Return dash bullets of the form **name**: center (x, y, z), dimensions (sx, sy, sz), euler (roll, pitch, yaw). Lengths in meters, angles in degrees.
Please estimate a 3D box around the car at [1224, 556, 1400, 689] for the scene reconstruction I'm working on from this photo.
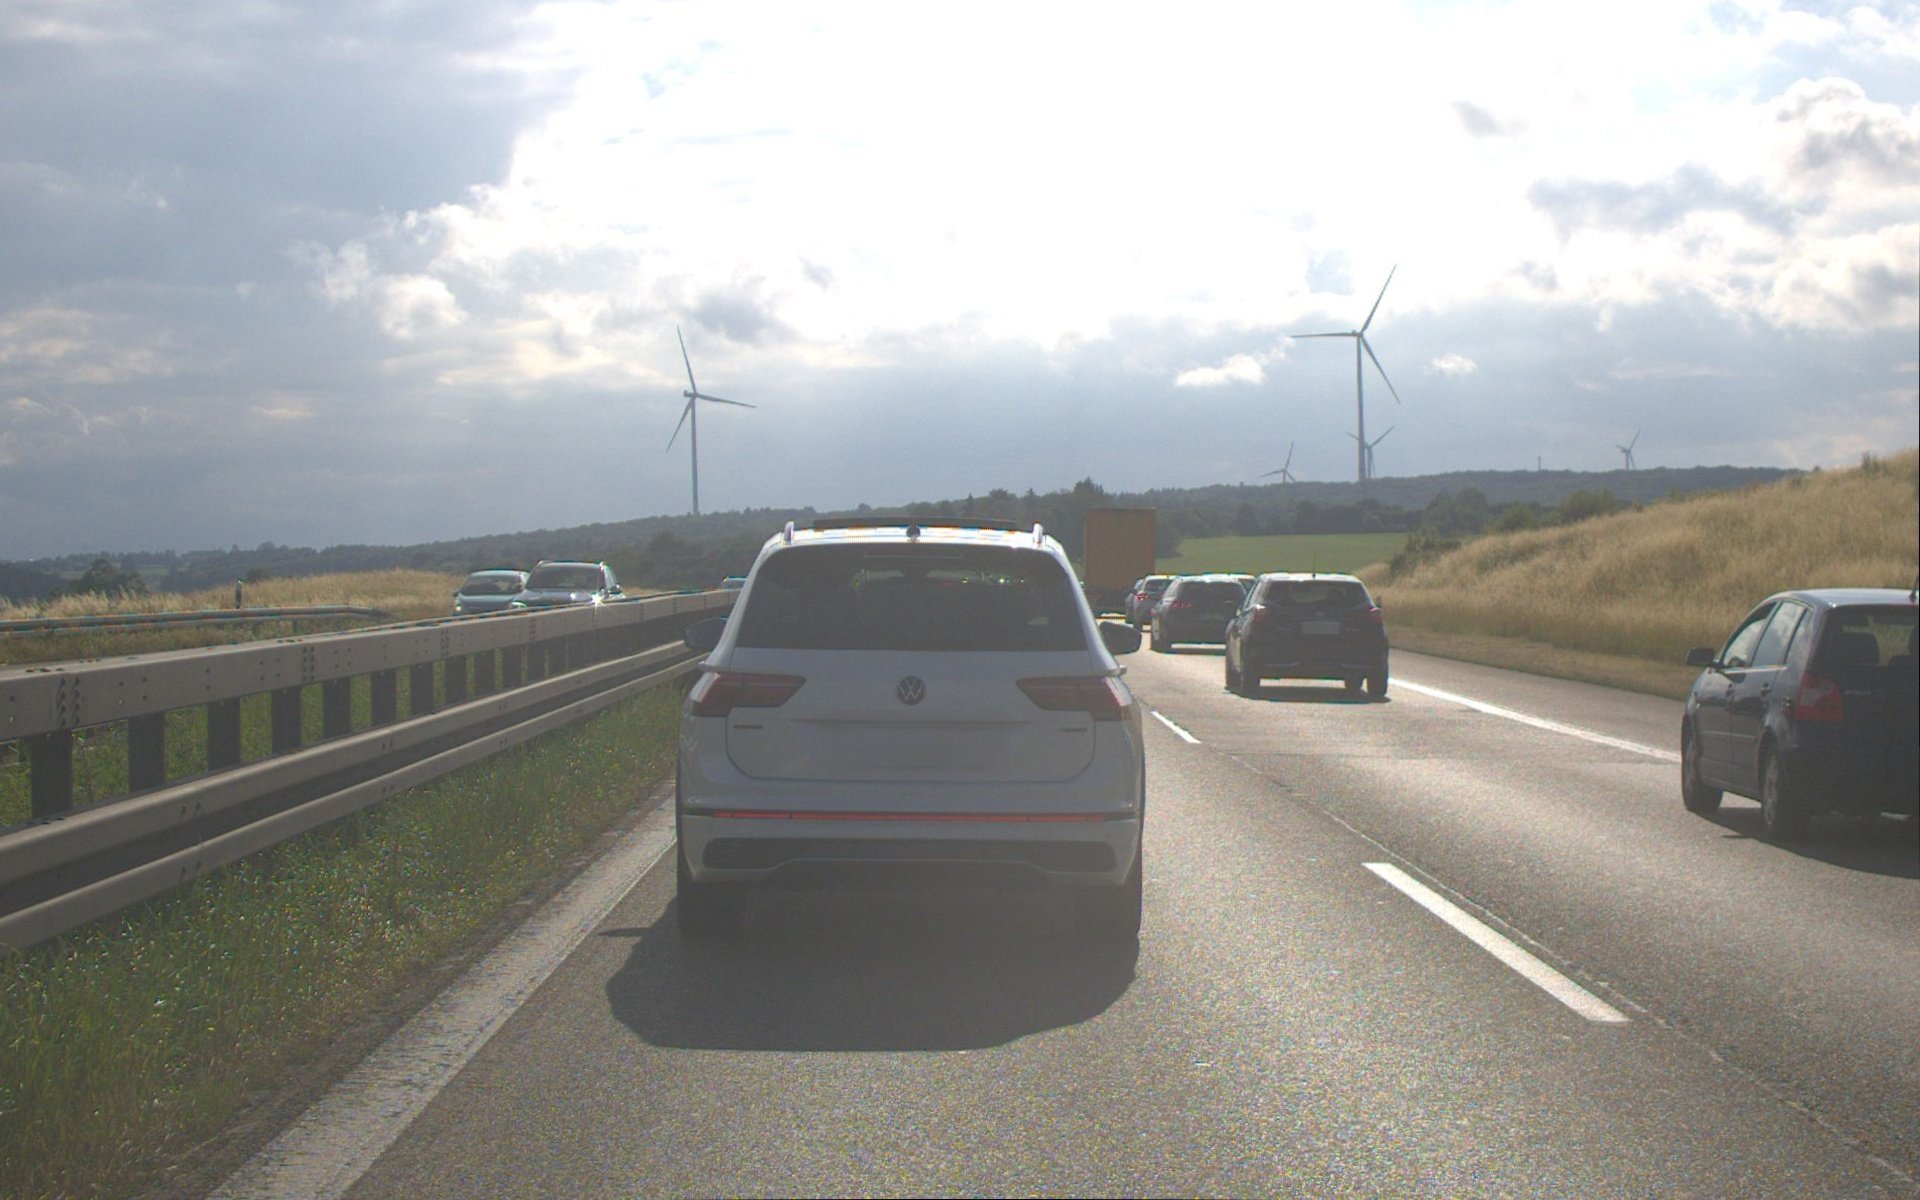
- **car**: center (4.266, 0.252, 42.150), dimensions (1.704, 1.540, 4.000), euler (1, 0, 0)

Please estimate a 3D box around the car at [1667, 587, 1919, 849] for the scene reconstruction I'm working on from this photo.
- **car**: center (5.342, 0.642, 20.541), dimensions (1.606, 1.415, 3.672), euler (1, 0, 2)

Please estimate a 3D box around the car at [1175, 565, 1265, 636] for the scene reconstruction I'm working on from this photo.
- **car**: center (5.874, -0.001, 78.088), dimensions (1.704, 1.540, 4.000), euler (1, 0, 0)

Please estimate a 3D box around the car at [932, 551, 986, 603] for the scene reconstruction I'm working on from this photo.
- **car**: center (-0.053, -0.733, 111.612), dimensions (1.704, 1.644, 4.000), euler (1, 0, 0)

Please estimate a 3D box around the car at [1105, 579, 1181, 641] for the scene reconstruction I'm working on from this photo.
- **car**: center (4.693, 0.251, 88.462), dimensions (1.704, 1.540, 4.000), euler (1, 0, 0)

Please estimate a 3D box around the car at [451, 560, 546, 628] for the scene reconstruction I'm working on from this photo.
- **car**: center (-11.031, -0.146, 82.373), dimensions (1.734, 1.582, 4.117), euler (1, 0, -1)

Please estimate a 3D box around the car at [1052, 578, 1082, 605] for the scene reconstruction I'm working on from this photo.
- **car**: center (6.267, -0.494, 201.097), dimensions (1.704, 1.540, 4.000), euler (1, 0, 1)

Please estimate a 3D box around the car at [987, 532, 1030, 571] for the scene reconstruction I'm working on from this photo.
- **car**: center (1.991, -1.997, 141.734), dimensions (1.704, 1.540, 4.000), euler (1, 0, 0)

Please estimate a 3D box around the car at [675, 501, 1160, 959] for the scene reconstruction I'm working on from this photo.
- **car**: center (-0.168, 0.470, 14.664), dimensions (1.770, 1.670, 4.000), euler (1, 0, 0)

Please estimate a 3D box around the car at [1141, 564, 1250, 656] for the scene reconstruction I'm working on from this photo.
- **car**: center (4.351, 0.169, 63.986), dimensions (1.704, 1.644, 4.000), euler (1, 0, 0)

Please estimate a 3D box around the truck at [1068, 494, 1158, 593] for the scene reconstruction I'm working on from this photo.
- **truck**: center (5.751, -2.138, 130.648), dimensions (3.184, 3.581, 11.130), euler (1, 1, 2)

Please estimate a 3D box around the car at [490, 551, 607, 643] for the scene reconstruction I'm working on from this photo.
- **car**: center (-8.149, -0.066, 68.343), dimensions (1.823, 1.764, 4.364), euler (1, 0, -1)

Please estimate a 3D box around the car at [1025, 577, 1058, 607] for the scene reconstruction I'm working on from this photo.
- **car**: center (4.323, -0.426, 181.678), dimensions (1.704, 1.540, 4.000), euler (1, 0, 2)
